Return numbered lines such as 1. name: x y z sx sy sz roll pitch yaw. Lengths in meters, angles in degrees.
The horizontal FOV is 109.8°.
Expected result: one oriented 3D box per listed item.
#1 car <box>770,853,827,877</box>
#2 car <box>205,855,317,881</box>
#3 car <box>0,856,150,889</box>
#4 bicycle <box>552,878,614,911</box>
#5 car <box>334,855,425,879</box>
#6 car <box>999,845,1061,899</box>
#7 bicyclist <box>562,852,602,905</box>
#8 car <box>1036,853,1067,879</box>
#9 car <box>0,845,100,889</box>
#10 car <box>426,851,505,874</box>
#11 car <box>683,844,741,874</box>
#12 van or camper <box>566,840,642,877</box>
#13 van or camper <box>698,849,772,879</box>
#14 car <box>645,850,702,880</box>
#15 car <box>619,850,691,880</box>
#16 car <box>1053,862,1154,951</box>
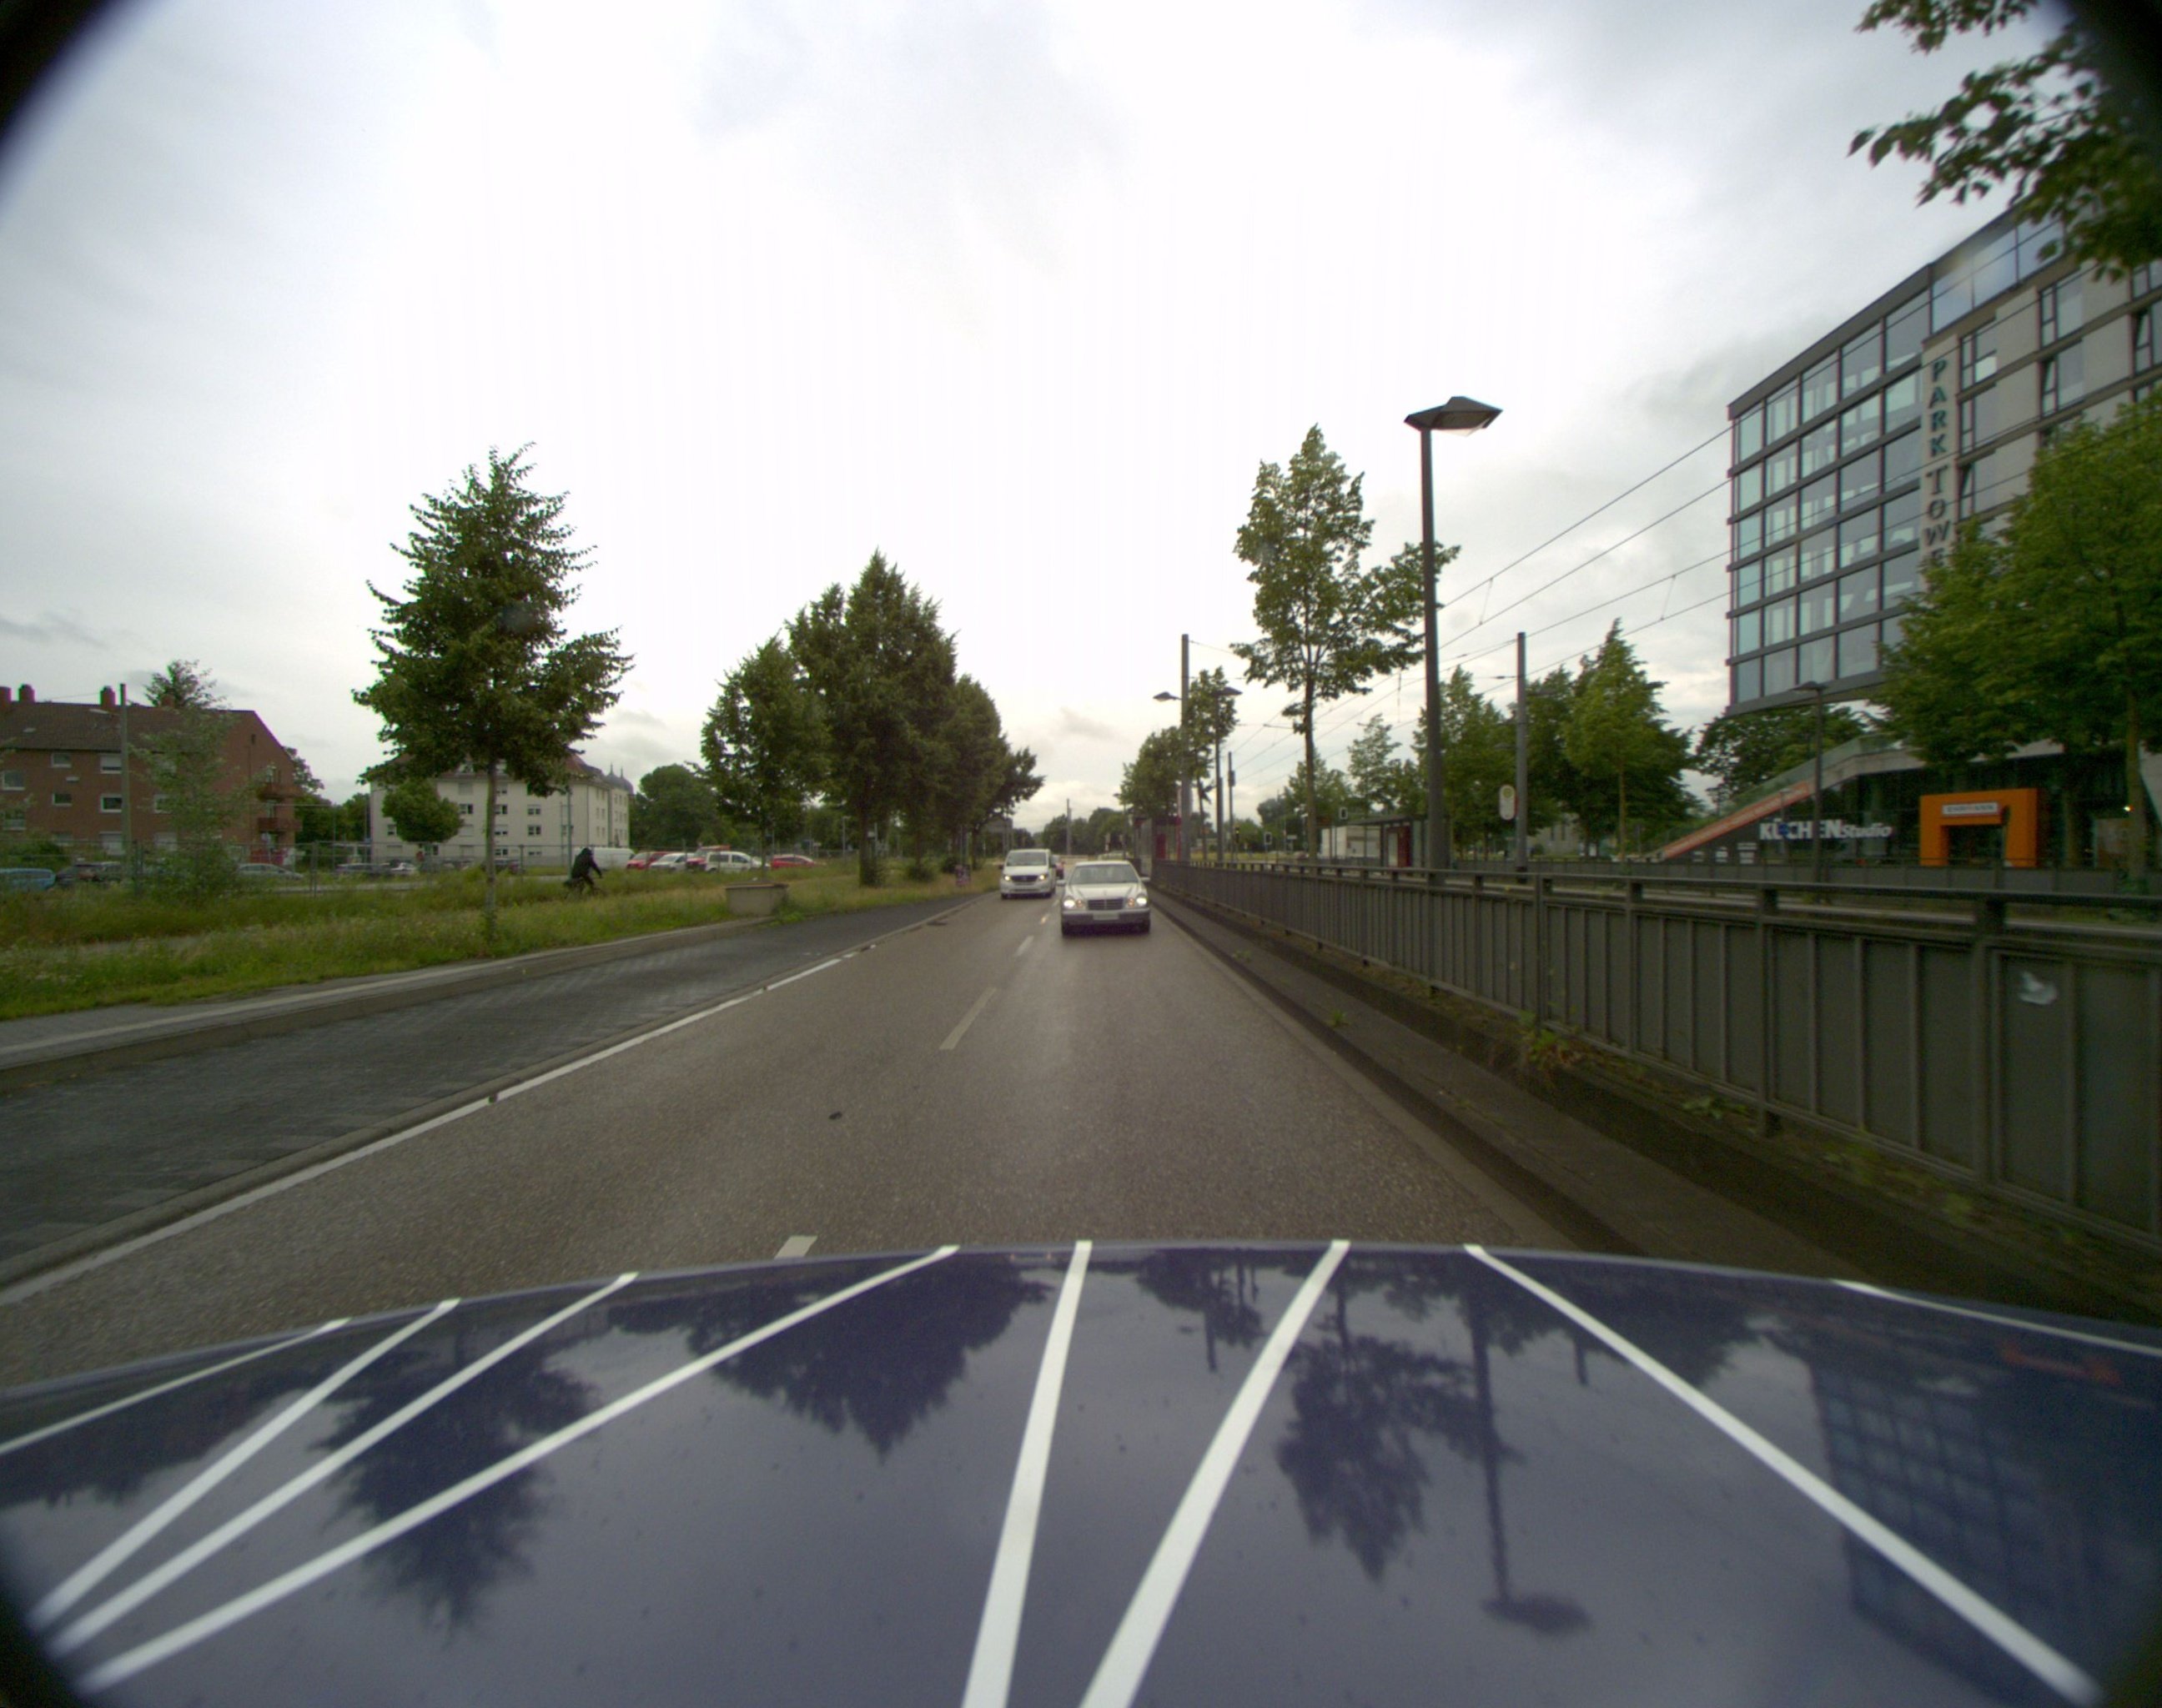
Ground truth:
1. car: -22.473 0.884 60.443 3.802 1.696 1.680 -2 1 7
2. car: -48.853 0.784 45.388 1.997 1.364 4.003 -2 0 11
3. car: -48.075 0.849 36.206 2.000 1.379 4.565 -2 0 -7
4. bicycle: -14.539 1.172 22.231 0.548 0.873 1.745 -1 0 4
5. car: -47.574 0.854 51.611 1.995 1.444 4.007 -2 0 27
6. car: -1.935 0.635 30.308 1.972 1.968 5.091 -1 1 1
7. bicyclist: -14.552 0.705 22.181 0.537 1.497 0.841 -1 1 4
8. car: -1.927 0.773 50.591 1.799 1.603 4.245 0 1 2
9. car: -55.331 0.648 39.615 2.278 2.207 4.758 -1 0 -3
10. car: -45.189 0.619 55.848 1.995 1.543 4.007 -2 0 27
11. car: -29.232 0.382 60.356 1.996 2.297 4.004 -1 0 14
12. van or camper: -41.780 0.335 66.727 2.343 3.017 5.515 -2 0 12
13. van or camper: -24.317 0.688 53.504 4.334 2.002 1.860 -1 0 -5
14. car: -32.685 0.884 61.076 1.997 2.297 4.003 -1 0 9
15. car: -35.097 0.879 62.827 2.195 2.297 5.450 -1 0 9
16. car: 0.457 0.943 15.610 1.738 1.451 4.607 -1 0 1
